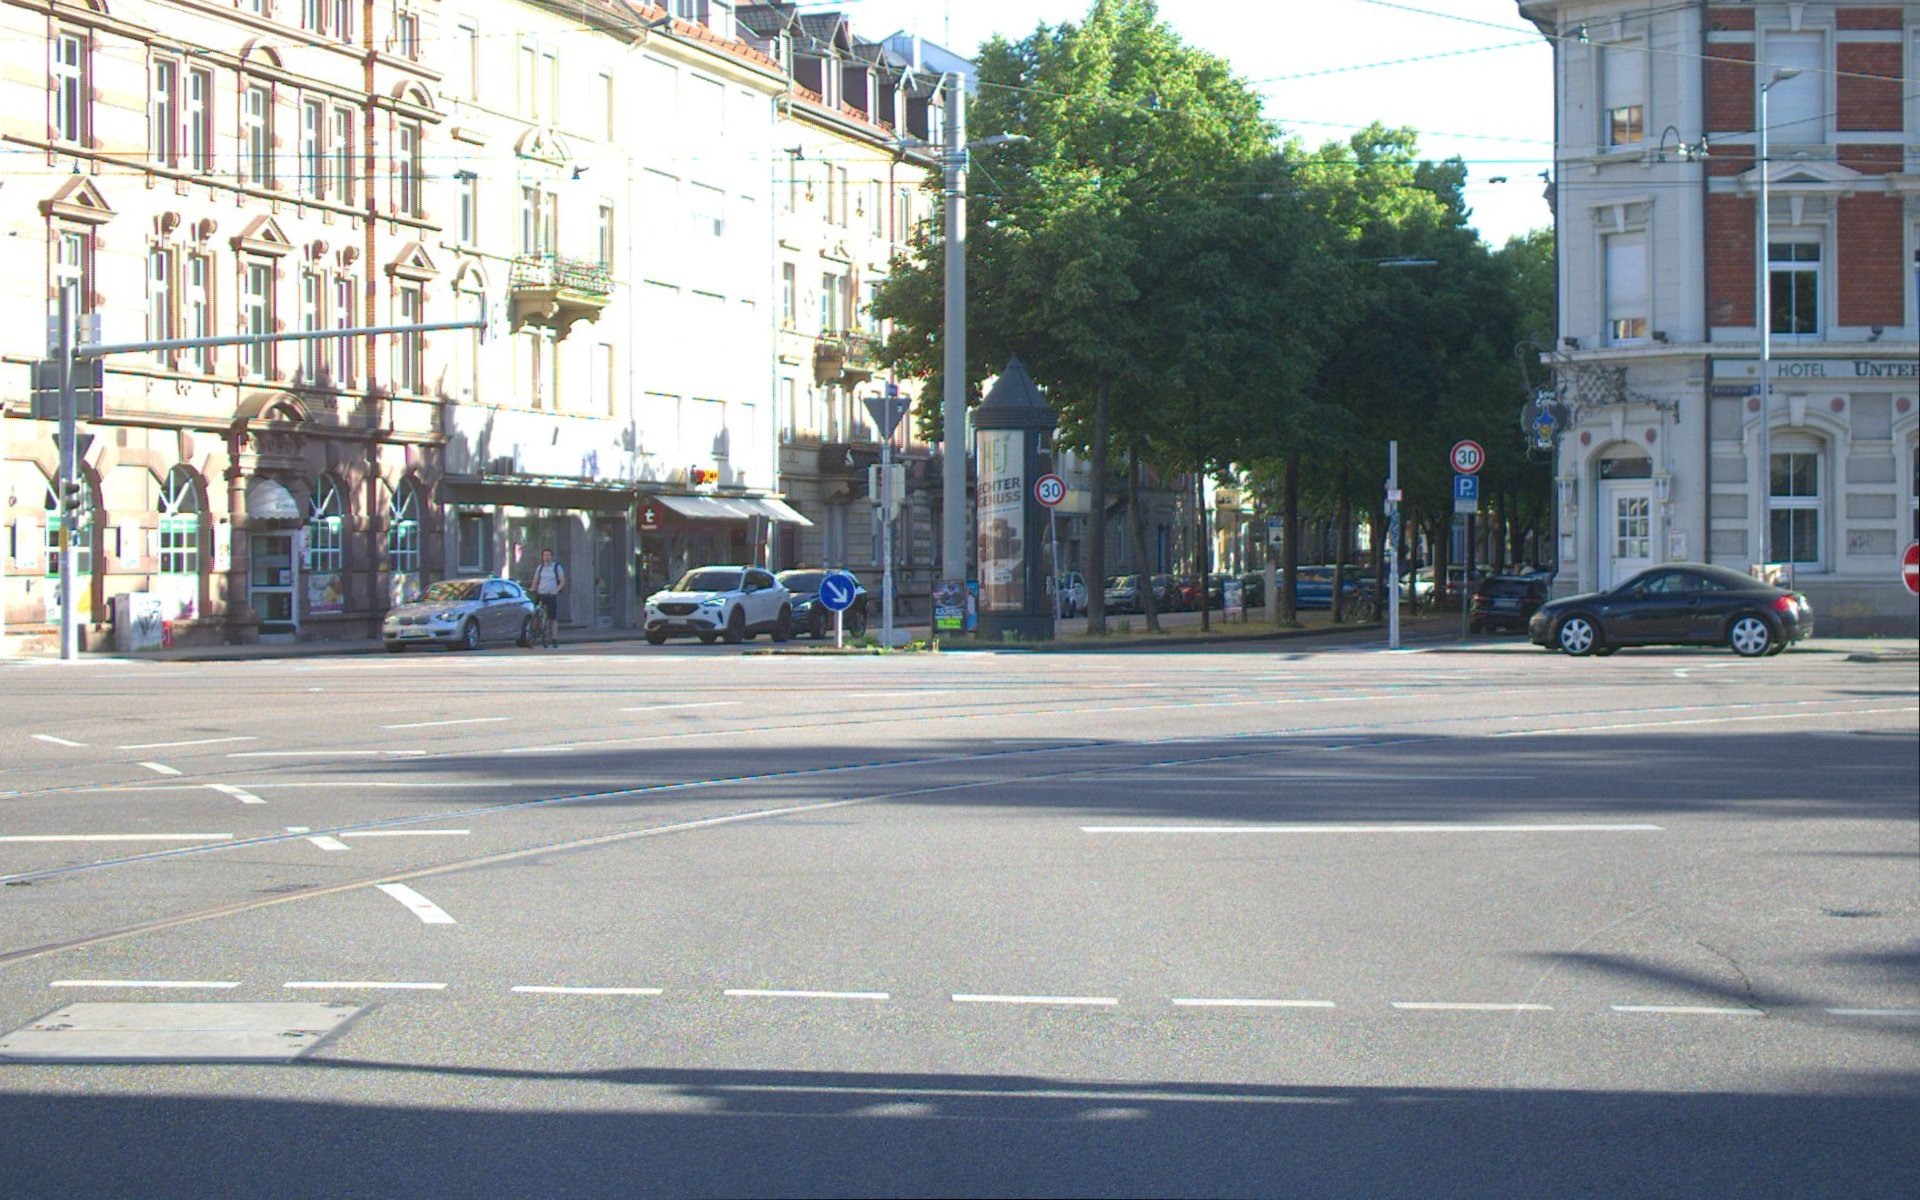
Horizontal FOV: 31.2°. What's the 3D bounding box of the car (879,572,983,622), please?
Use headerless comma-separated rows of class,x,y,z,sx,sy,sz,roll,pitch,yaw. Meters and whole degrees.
car,-0.842,-0.098,102.090,1.995,1.400,4.166,0,1,16

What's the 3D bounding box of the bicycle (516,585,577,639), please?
bicycle,-7.848,0.228,65.301,0.655,0.997,1.664,1,1,12

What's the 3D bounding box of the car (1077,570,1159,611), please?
car,5.654,-0.347,122.579,1.995,1.400,4.166,0,1,16

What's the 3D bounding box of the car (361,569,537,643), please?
car,-9.927,0.098,67.044,1.995,1.357,3.816,0,1,16

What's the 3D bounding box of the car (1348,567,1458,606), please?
car,14.364,-0.435,111.465,3.435,1.235,1.576,0,1,11

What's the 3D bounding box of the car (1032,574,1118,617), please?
car,3.941,-0.158,116.860,1.995,1.400,4.166,0,1,16

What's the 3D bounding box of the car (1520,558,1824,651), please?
car,10.272,0.047,49.597,4.064,1.296,1.721,0,1,21

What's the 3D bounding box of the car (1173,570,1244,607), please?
car,9.884,-0.457,136.603,1.995,1.400,4.166,0,1,16

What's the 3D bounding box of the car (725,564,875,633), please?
car,-3.398,-0.045,73.644,1.995,1.400,4.166,0,1,16

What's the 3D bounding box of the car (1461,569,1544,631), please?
car,13.048,-0.029,82.528,1.756,1.415,3.998,0,1,12

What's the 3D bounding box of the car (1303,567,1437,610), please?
car,12.578,-0.354,105.392,3.989,1.284,1.694,0,1,11

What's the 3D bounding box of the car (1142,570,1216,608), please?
car,8.407,-0.425,131.406,1.995,1.400,4.166,0,1,16

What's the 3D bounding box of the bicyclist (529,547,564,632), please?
bicyclist,-7.840,-0.207,65.194,0.489,1.596,0.666,0,1,10

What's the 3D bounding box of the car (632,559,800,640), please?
car,-4.752,-0.039,67.471,1.995,1.511,4.166,0,1,16

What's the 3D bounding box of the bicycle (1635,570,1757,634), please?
bicycle,12.269,0.023,57.341,1.953,1.050,0.715,0,1,10

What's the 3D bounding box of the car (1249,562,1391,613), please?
car,10.448,-0.367,99.684,3.989,1.450,1.681,0,1,11
